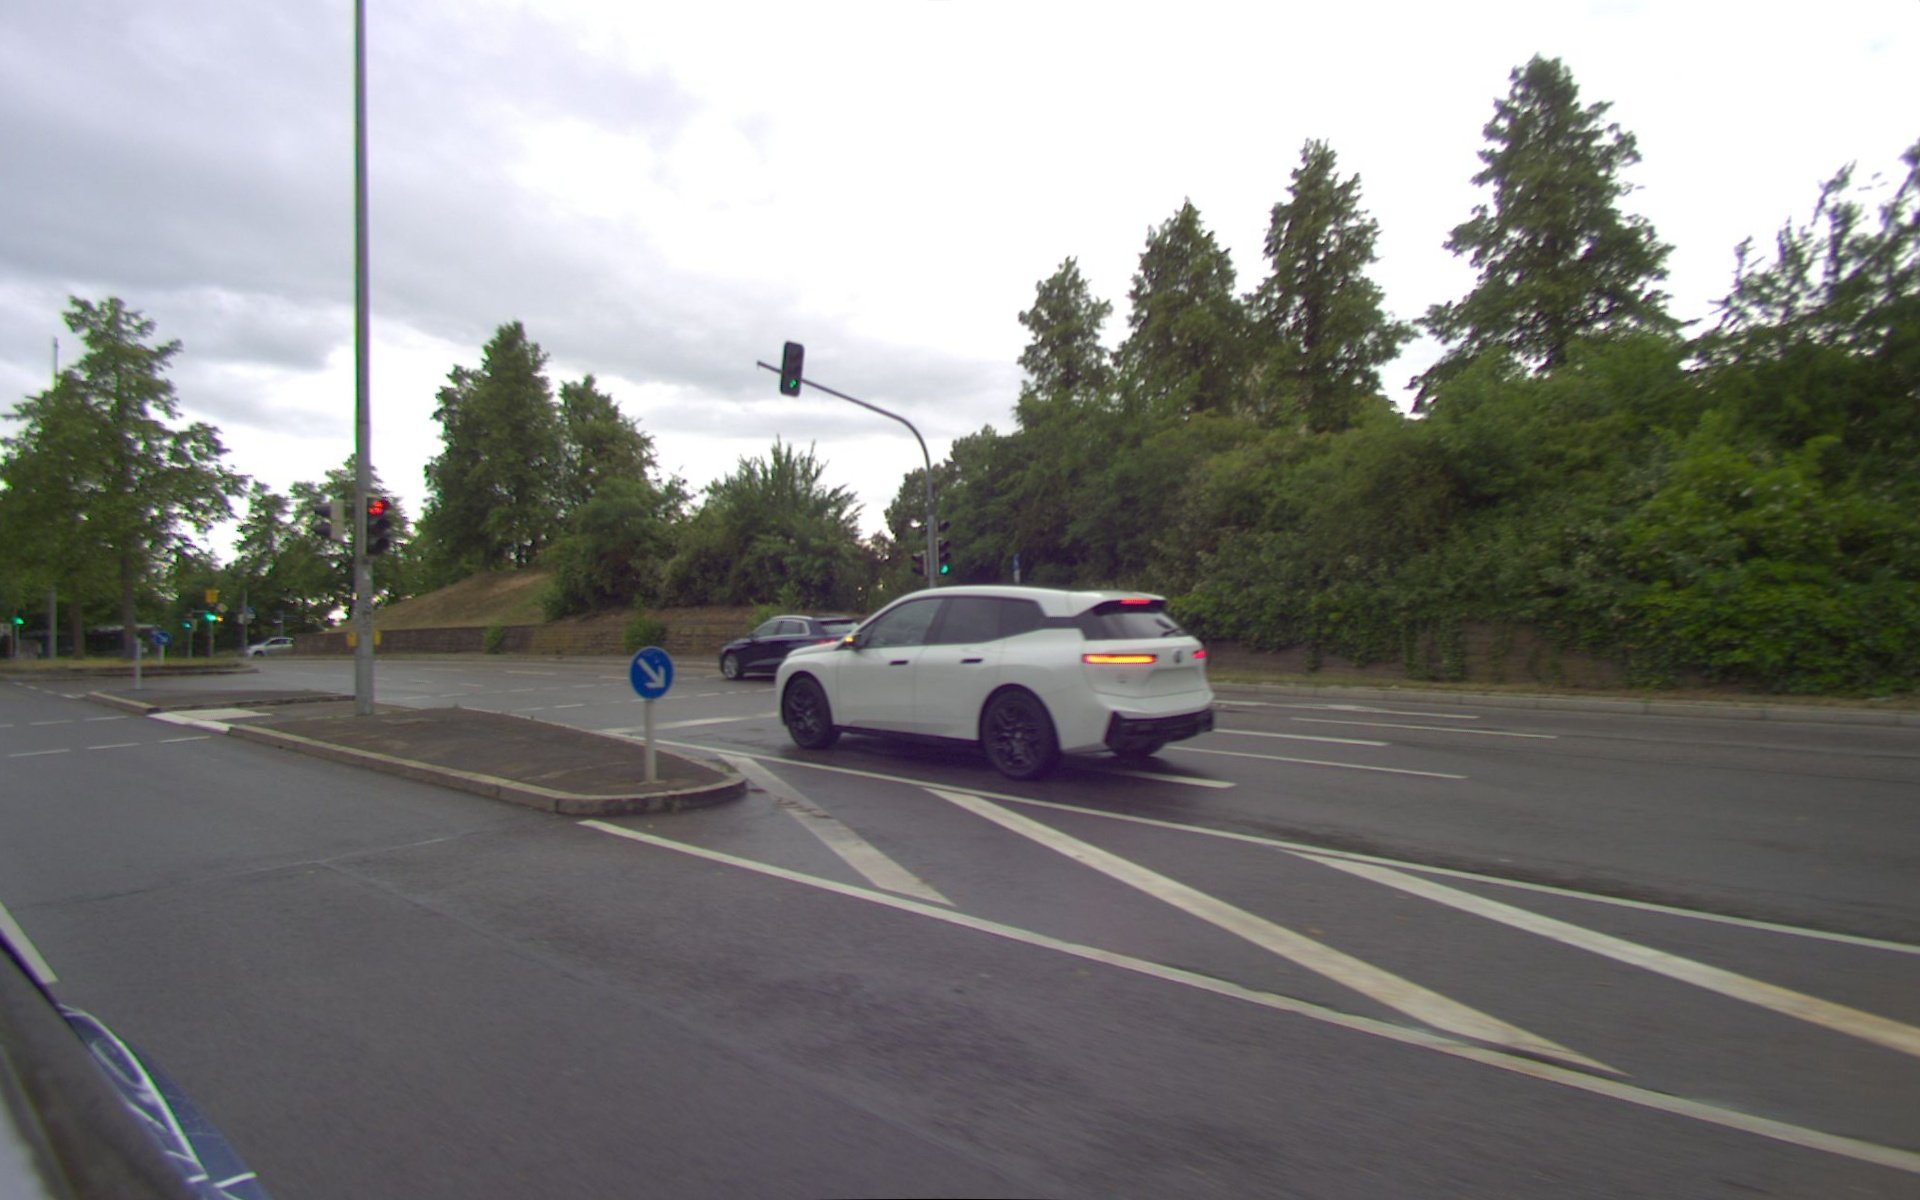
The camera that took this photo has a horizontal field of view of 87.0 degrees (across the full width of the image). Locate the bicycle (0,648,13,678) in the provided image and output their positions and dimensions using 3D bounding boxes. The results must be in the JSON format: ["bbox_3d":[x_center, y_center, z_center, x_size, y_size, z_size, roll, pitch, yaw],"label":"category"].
[{"bbox_3d":[-36.773,2.387,38.213,0.544,1.151,2.146,0,-2,-17],"label":"bicycle"}]

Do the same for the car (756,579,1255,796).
[{"bbox_3d":[0.185,0.740,10.157,5.007,1.648,1.923,-2,-2,45],"label":"car"}]

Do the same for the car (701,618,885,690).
[{"bbox_3d":[-3.841,1.163,22.765,4.455,1.448,1.799,-2,-2,44],"label":"car"}]

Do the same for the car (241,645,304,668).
[{"bbox_3d":[-50.275,4.118,74.018,3.640,1.489,1.764,0,-3,-40],"label":"car"}]
